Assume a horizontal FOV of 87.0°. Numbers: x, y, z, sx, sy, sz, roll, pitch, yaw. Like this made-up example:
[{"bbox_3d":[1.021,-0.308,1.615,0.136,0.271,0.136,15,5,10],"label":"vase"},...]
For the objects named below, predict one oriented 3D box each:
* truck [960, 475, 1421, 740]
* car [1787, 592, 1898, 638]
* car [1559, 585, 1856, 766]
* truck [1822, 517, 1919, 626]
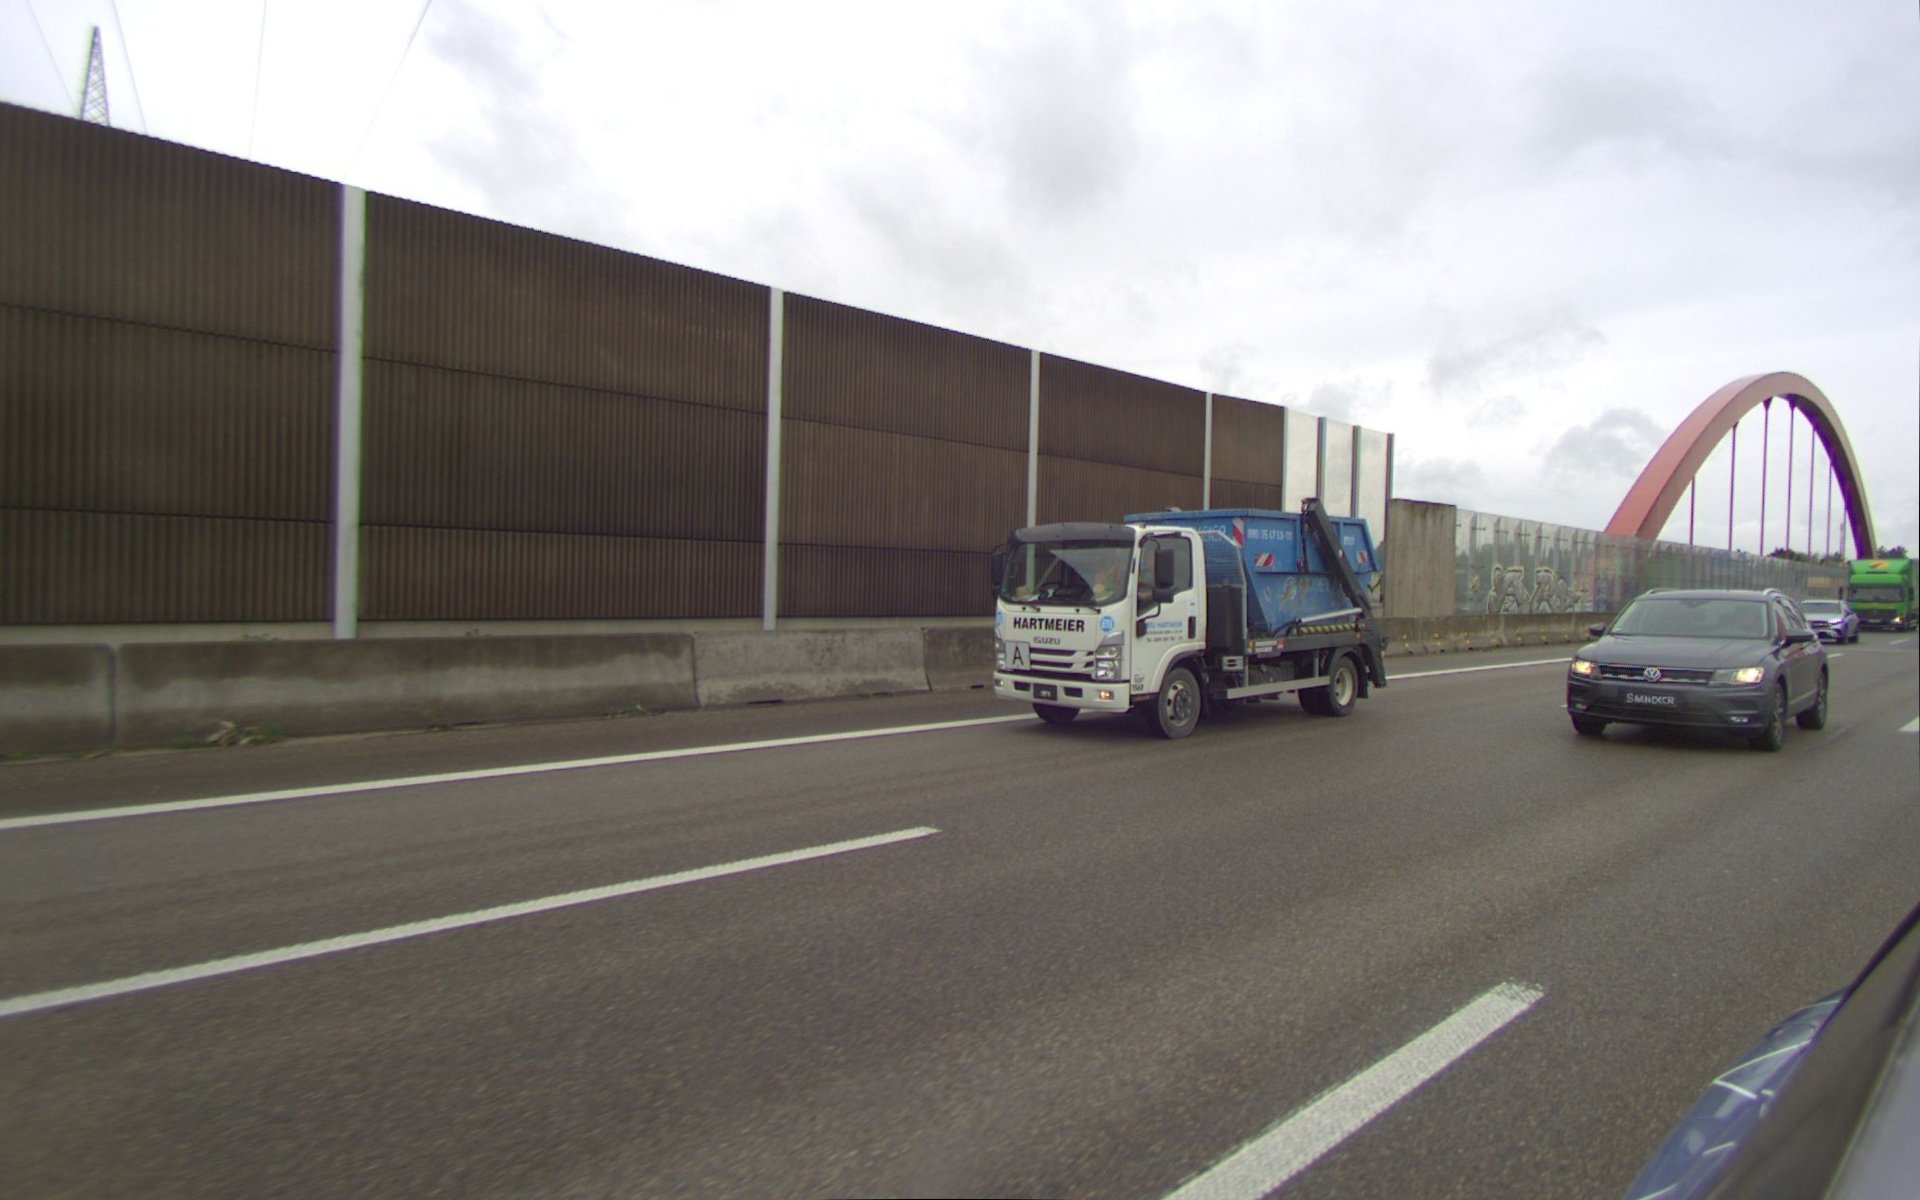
[{"bbox_3d":[3.077,0.060,12.528,6.033,2.538,2.366,0,0,-39],"label":"truck"},{"bbox_3d":[33.359,0.529,38.228,5.227,1.640,2.000,0,0,-35],"label":"car"},{"bbox_3d":[8.596,0.689,11.519,4.032,1.691,1.915,0,0,-41],"label":"car"},{"bbox_3d":[50.211,-1.440,54.674,11.024,5.332,4.004,0,0,-41],"label":"truck"}]
